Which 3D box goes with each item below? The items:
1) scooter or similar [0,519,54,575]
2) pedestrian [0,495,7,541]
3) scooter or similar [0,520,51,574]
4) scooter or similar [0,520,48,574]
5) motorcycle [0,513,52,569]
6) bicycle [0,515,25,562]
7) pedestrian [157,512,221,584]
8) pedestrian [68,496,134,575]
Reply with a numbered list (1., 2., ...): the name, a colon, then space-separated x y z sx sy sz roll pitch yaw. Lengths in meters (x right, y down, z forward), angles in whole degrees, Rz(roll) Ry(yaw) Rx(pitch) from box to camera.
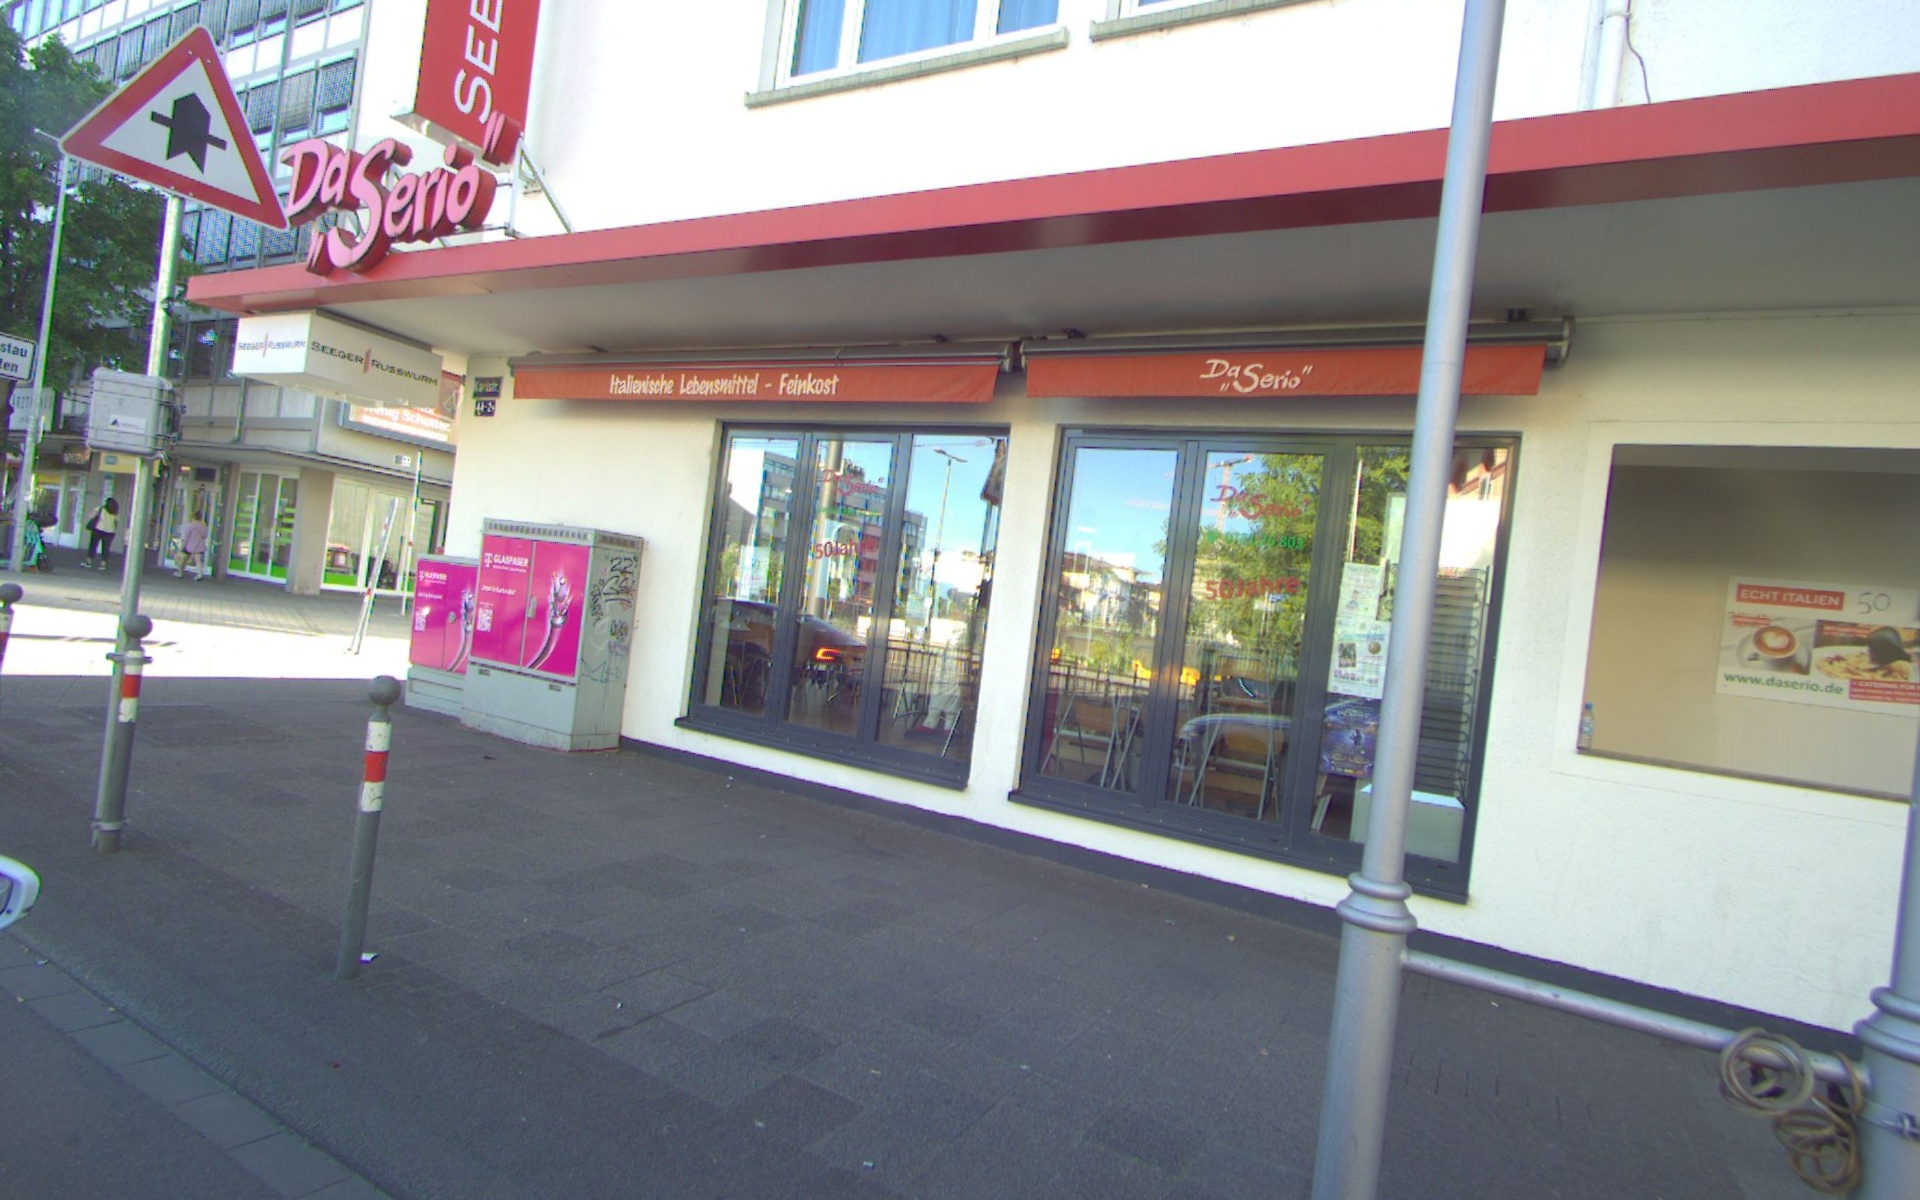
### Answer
1. scooter or similar: -19.690 -1.116 21.070 0.157 1.056 0.964 7 -1 34
2. pedestrian: -30.729 -2.637 31.853 0.613 1.438 0.644 6 -1 42
3. scooter or similar: -19.852 -1.121 21.180 0.157 1.051 0.957 7 -1 34
4. scooter or similar: -20.016 -1.128 21.290 0.157 1.039 0.964 7 -1 34
5. motorcycle: -21.528 -1.379 22.402 0.495 1.142 1.791 7 -2 29
6. bicycle: -23.171 -1.530 23.526 0.392 1.069 1.856 7 0 21
7. pedestrian: -19.126 -1.295 24.963 0.865 1.621 0.844 6 -1 31
8. pedestrian: -20.833 -1.560 24.405 0.865 1.727 0.844 6 -1 31
